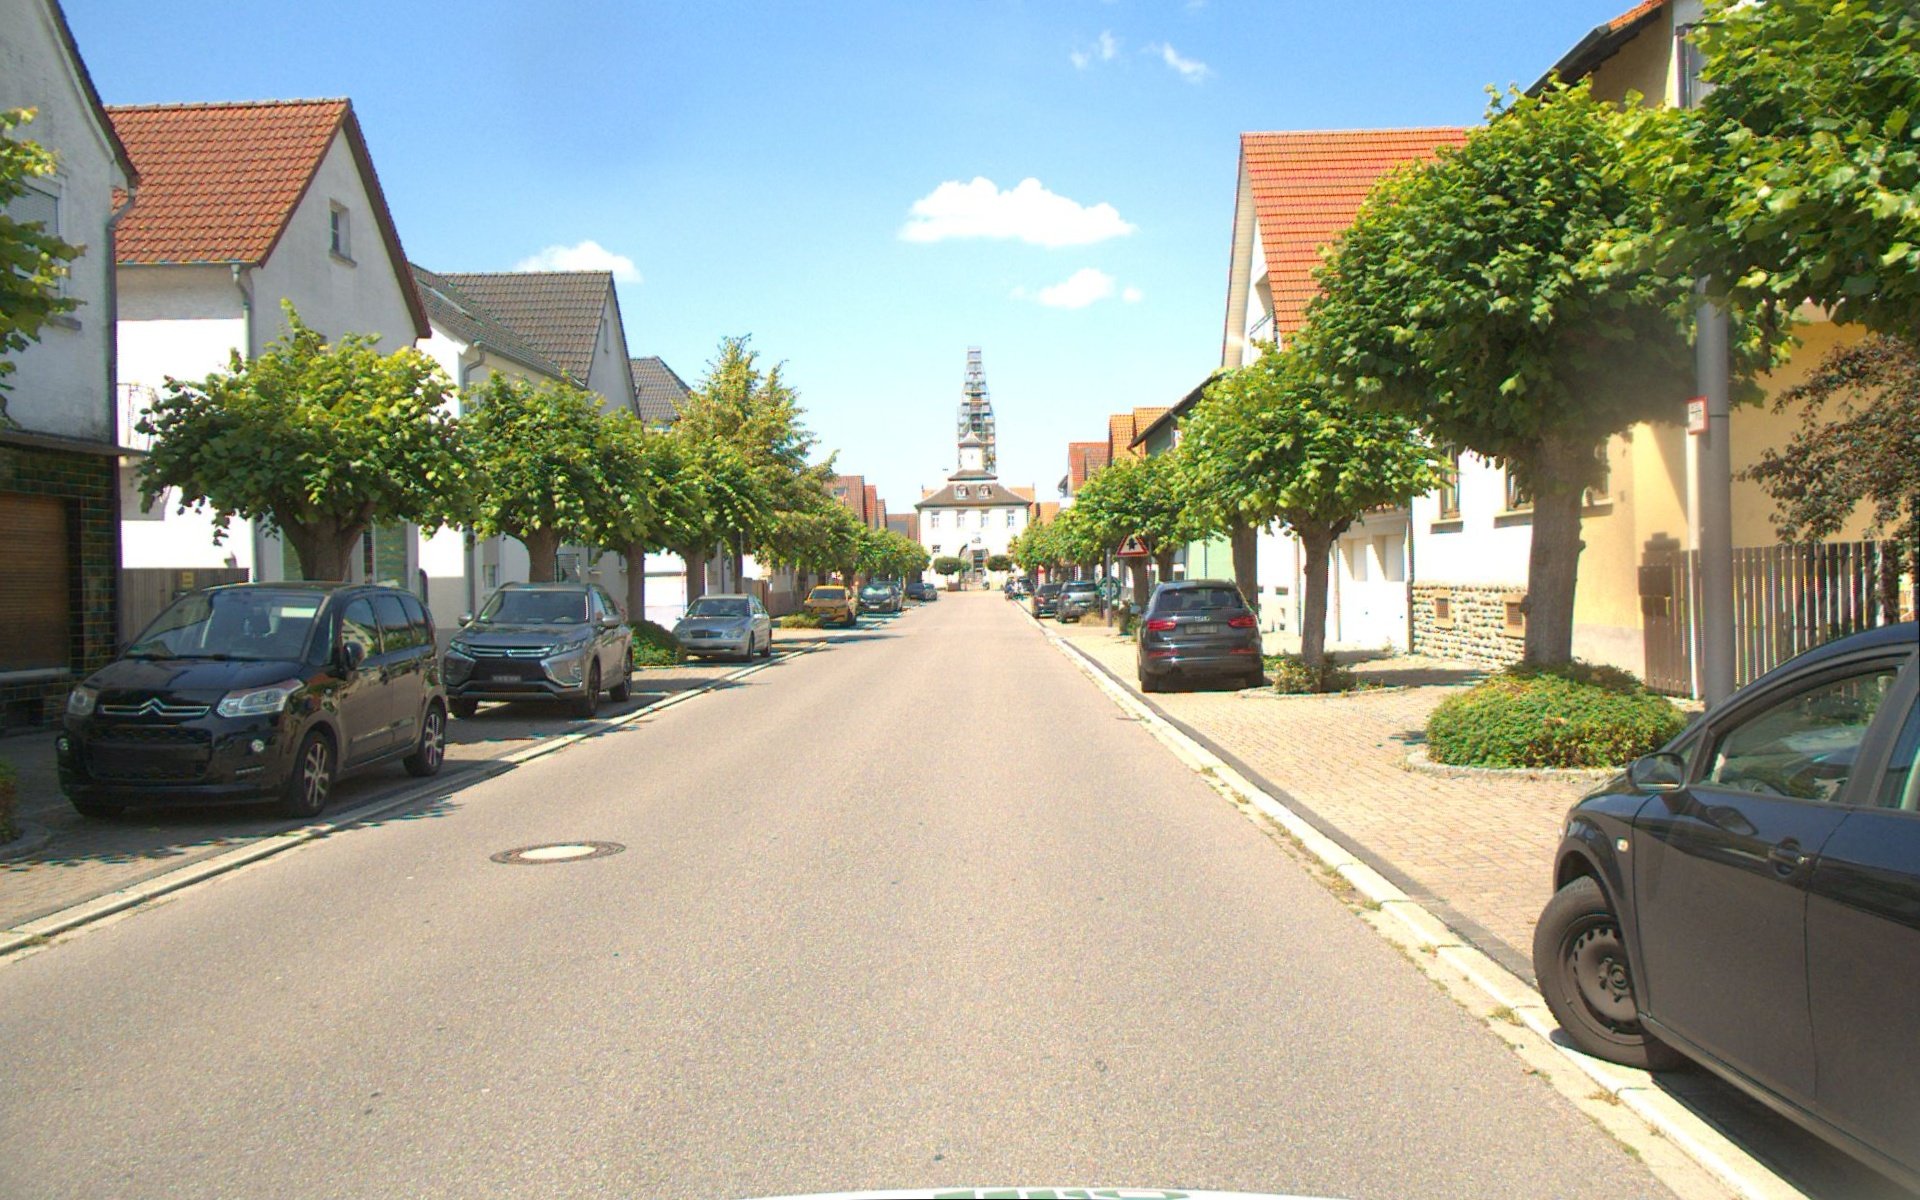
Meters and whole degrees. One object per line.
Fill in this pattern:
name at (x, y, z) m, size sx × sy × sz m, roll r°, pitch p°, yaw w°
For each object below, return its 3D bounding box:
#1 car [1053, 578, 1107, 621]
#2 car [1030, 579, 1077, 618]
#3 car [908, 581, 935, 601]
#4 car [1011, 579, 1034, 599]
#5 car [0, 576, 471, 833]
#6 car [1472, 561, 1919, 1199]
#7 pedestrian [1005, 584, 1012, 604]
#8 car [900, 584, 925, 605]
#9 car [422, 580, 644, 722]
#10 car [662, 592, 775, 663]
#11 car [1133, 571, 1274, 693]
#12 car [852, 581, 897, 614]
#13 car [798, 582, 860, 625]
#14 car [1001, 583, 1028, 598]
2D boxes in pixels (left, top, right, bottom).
car at (4.738, -0.042, 65.579) m, size 1.800 × 1.635 × 4.000 m, roll -1°, pitch 1°, yaw -1°
car at (4.093, -0.080, 73.074) m, size 1.800 × 1.582 × 4.314 m, roll -3°, pitch 1°, yaw 0°
car at (-3.158, -0.725, 136.239) m, size 1.952 × 1.639 × 3.856 m, roll 0°, pitch 0°, yaw 2°
car at (5.112, -0.910, 136.064) m, size 1.799 × 1.582 × 4.314 m, roll -3°, pitch 1°, yaw 1°
car at (-5.351, 0.681, 12.868) m, size 1.815 × 1.664 × 4.057 m, roll 1°, pitch 0°, yaw 1°
car at (2.759, 0.658, 3.957) m, size 1.787 × 1.457 × 4.057 m, roll -3°, pitch 1°, yaw 1°
pedestrian at (3.594, -0.436, 122.718) m, size 0.352 × 1.427 × 0.319 m, roll -1°, pitch 0°, yaw 38°
car at (-3.738, -0.413, 130.503) m, size 1.721 × 1.582 × 4.021 m, roll -1°, pitch 1°, yaw 1°
car at (-5.485, 0.592, 21.833) m, size 1.953 × 1.681 × 4.365 m, roll 0°, pitch 0°, yaw -3°
car at (-5.211, 0.564, 36.202) m, size 1.803 × 1.420 × 4.406 m, roll 0°, pitch 1°, yaw 0°
car at (3.605, 0.410, 25.082) m, size 1.786 × 1.613 × 4.059 m, roll -3°, pitch 1°, yaw 5°
car at (-4.481, -0.149, 87.440) m, size 1.952 × 1.639 × 4.690 m, roll 0°, pitch 1°, yaw 2°
car at (-5.175, 0.125, 65.935) m, size 1.952 × 1.639 × 4.690 m, roll 0°, pitch 1°, yaw 2°
car at (5.715, -1.018, 173.659) m, size 1.694 × 1.574 × 3.454 m, roll 0°, pitch 0°, yaw 23°
